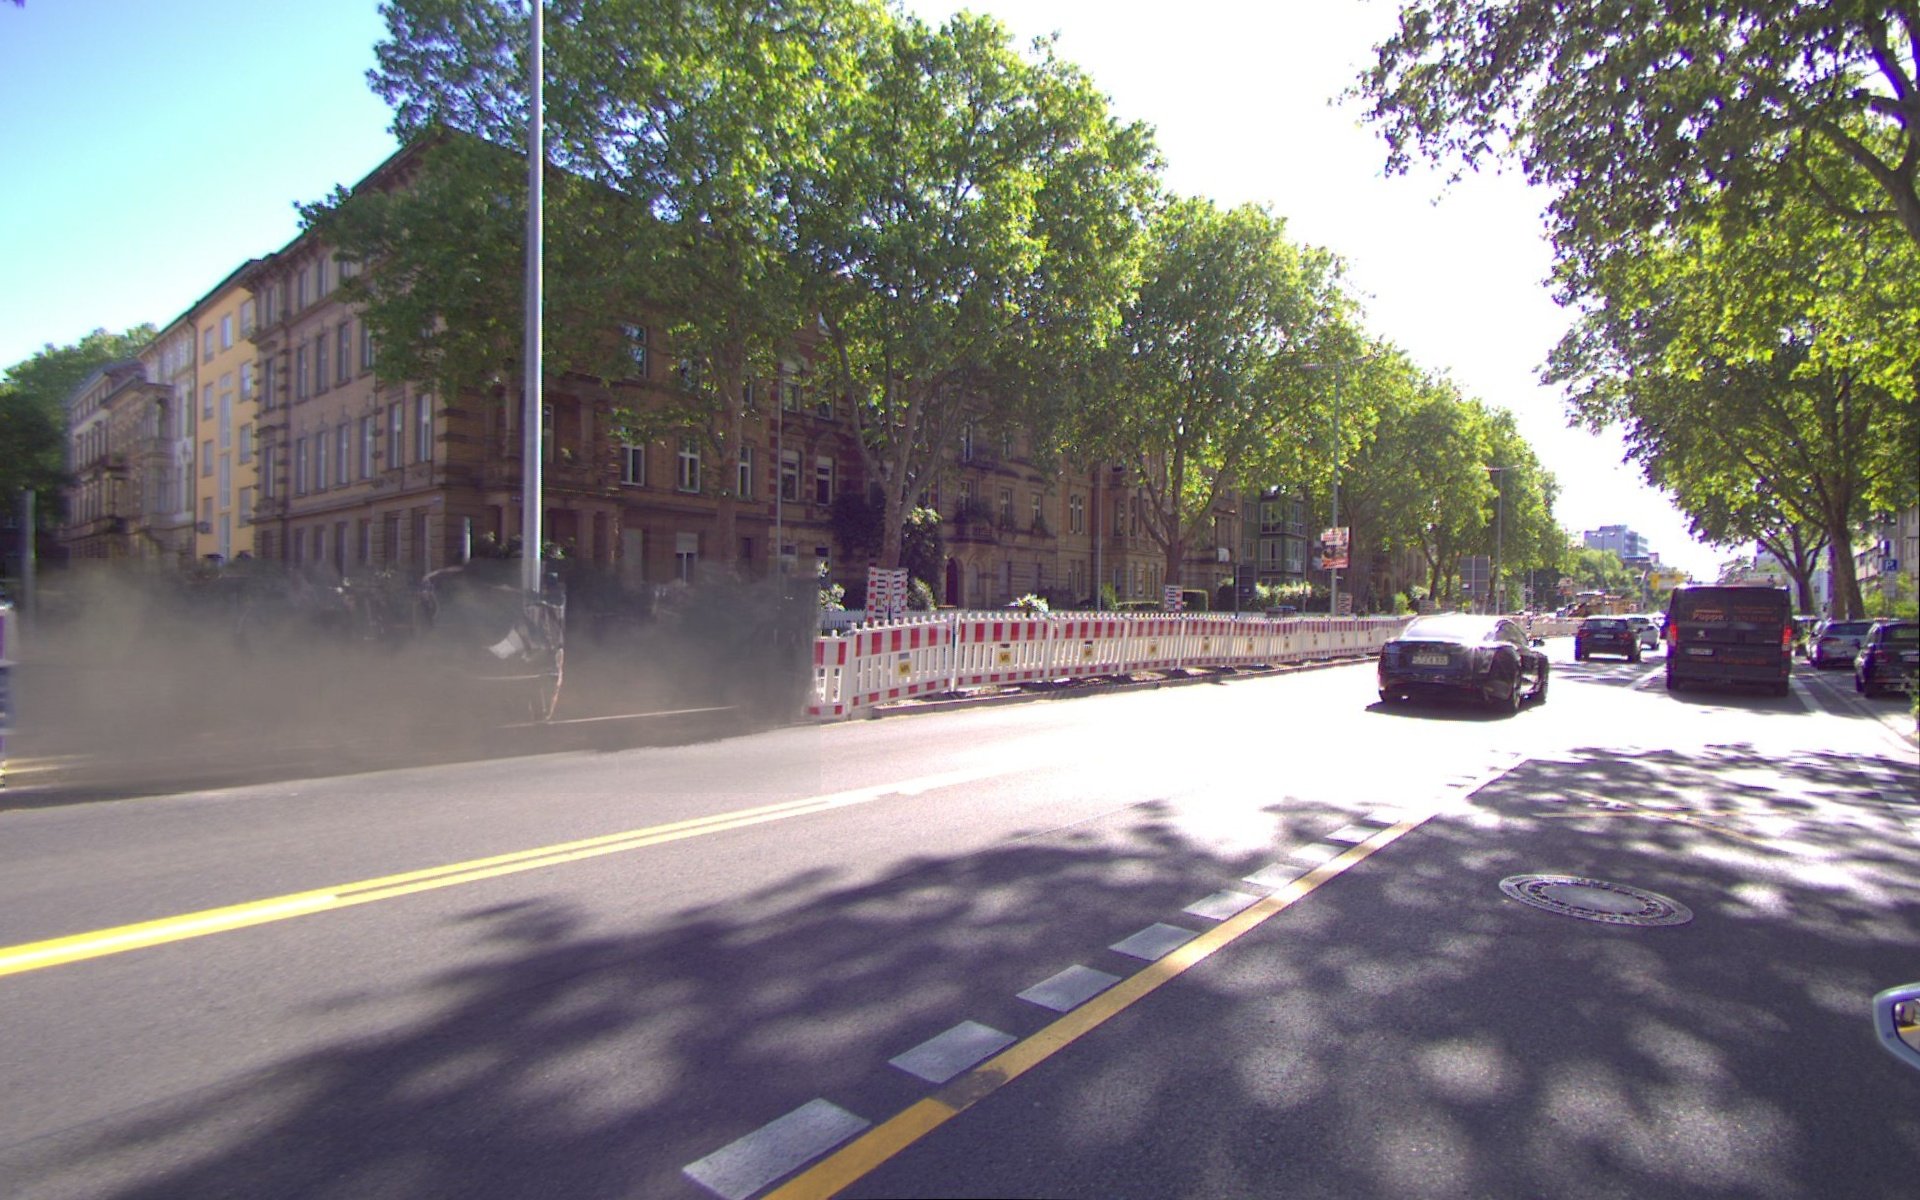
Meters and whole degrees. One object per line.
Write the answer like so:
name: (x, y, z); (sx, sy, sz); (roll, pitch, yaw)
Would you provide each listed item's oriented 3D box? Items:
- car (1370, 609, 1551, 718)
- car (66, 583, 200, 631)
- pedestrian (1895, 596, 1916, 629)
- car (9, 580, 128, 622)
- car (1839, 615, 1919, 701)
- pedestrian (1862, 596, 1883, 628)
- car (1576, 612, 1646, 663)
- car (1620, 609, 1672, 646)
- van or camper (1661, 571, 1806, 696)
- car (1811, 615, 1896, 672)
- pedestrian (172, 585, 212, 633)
car: (8.374, 0.938, 16.581); (1.815, 1.503, 4.458); (1, 0, 38)
car: (-31.891, 0.297, 38.826); (1.599, 1.759, 3.784); (0, -1, 41)
pedestrian: (69.991, 0.924, 74.343); (1.045, 2.377, 0.812); (2, 1, 41)
car: (-39.701, 0.079, 44.797); (1.599, 1.759, 3.784); (0, -1, 41)
car: (19.152, 1.119, 20.369); (1.751, 1.589, 3.984); (0, -1, 38)
pedestrian: (69.264, 0.895, 76.248); (1.045, 2.377, 0.812); (2, 1, 41)
car: (21.454, 1.191, 33.036); (1.599, 1.505, 3.718); (2, 0, 38)
car: (29.605, 1.158, 43.330); (1.599, 1.505, 3.718); (2, 0, 38)
van or camper: (16.568, 0.658, 21.656); (2.216, 2.377, 4.521); (1, 0, 37)
car: (26.828, 1.270, 30.255); (1.752, 1.589, 3.981); (0, -1, 40)
pedestrian: (-27.272, 0.326, 35.664); (0.811, 1.682, 0.761); (0, 0, 14)
